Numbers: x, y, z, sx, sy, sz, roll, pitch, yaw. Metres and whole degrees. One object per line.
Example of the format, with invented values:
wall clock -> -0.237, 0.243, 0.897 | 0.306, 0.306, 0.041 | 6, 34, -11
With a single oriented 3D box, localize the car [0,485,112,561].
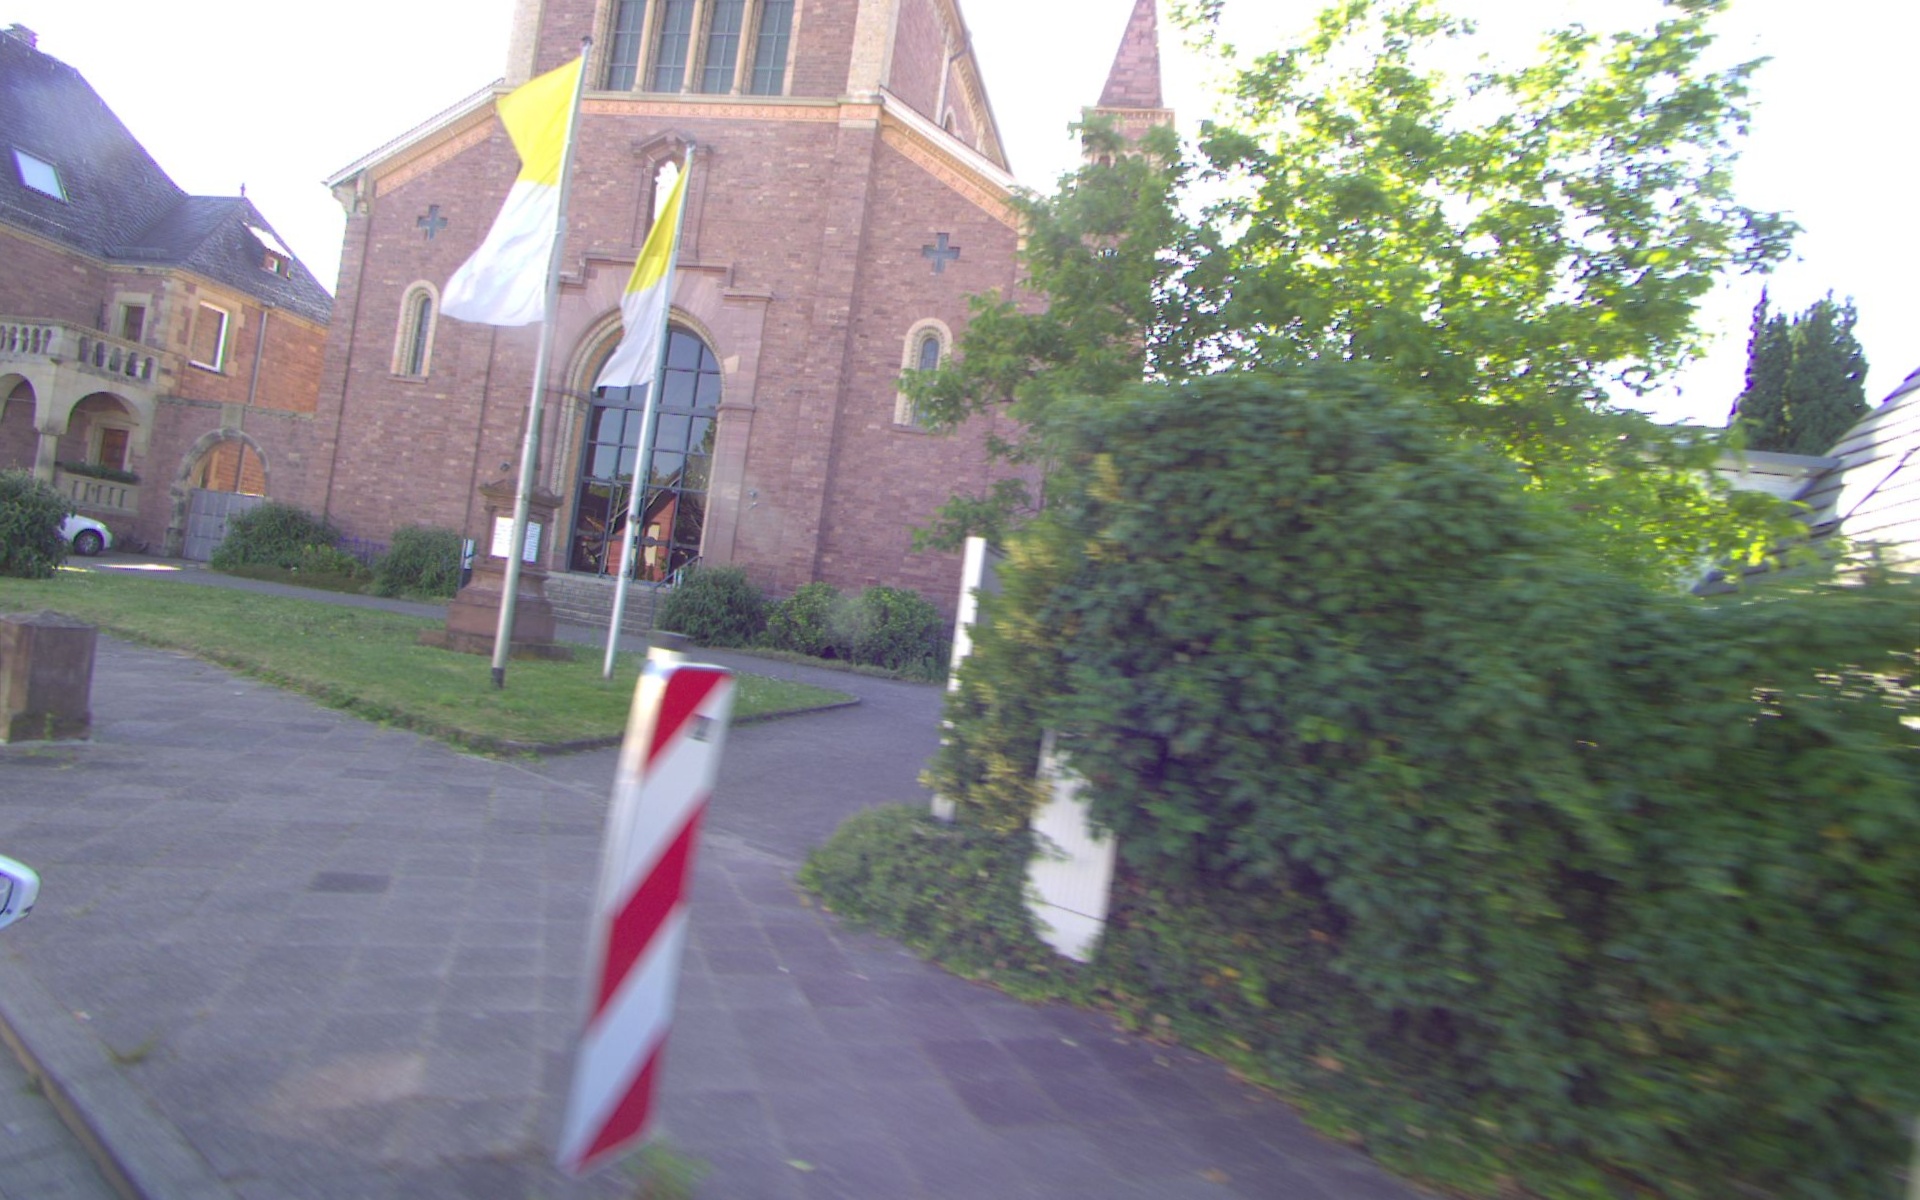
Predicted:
car -> -22.201, -1.868, 22.991 | 1.868, 1.514, 3.913 | 6, -1, 12
